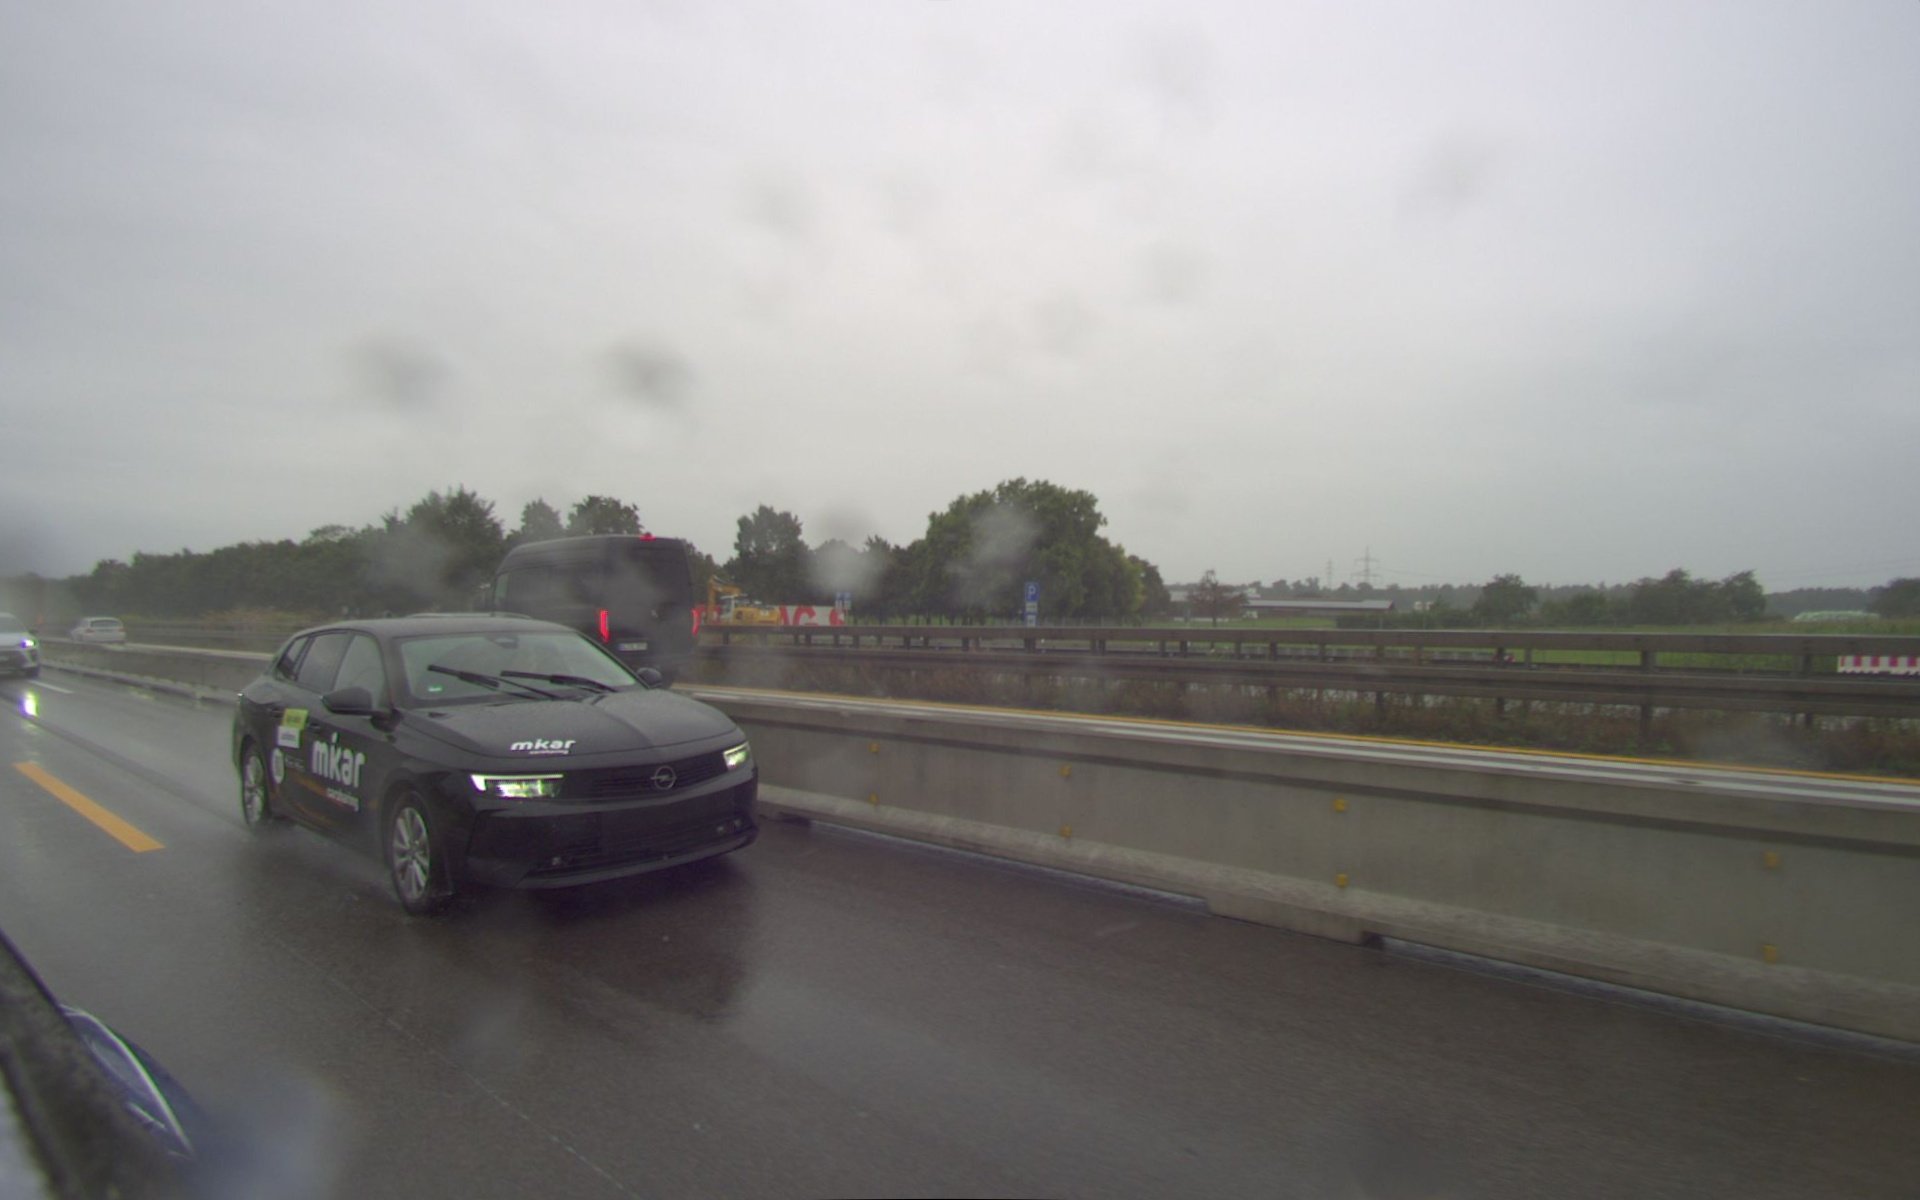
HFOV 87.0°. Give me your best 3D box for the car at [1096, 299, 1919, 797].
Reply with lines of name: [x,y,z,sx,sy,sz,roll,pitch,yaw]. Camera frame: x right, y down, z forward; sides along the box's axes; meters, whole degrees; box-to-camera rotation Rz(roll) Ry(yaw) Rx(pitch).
car: [3.348,-0.158,5.891,4.798,2.018,1.972,-2,-2,41]

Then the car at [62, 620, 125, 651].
car: [-43.977,1.748,51.316,5.435,1.448,1.710,-1,0,41]

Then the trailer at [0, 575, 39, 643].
trailer: [-68.257,0.677,72.041,13.546,4.491,2.554,-1,-1,42]

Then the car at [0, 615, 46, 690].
car: [-24.357,1.264,25.000,3.994,1.693,1.948,1,1,37]

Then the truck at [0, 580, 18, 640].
truck: [-73.759,0.808,76.902,6.287,4.422,2.581,-1,-1,41]

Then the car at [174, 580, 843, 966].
car: [-3.089,0.721,6.326,4.791,1.539,1.919,-1,-1,40]

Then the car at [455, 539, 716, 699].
car: [-7.182,0.357,18.930,6.176,2.536,2.047,-1,-2,44]
